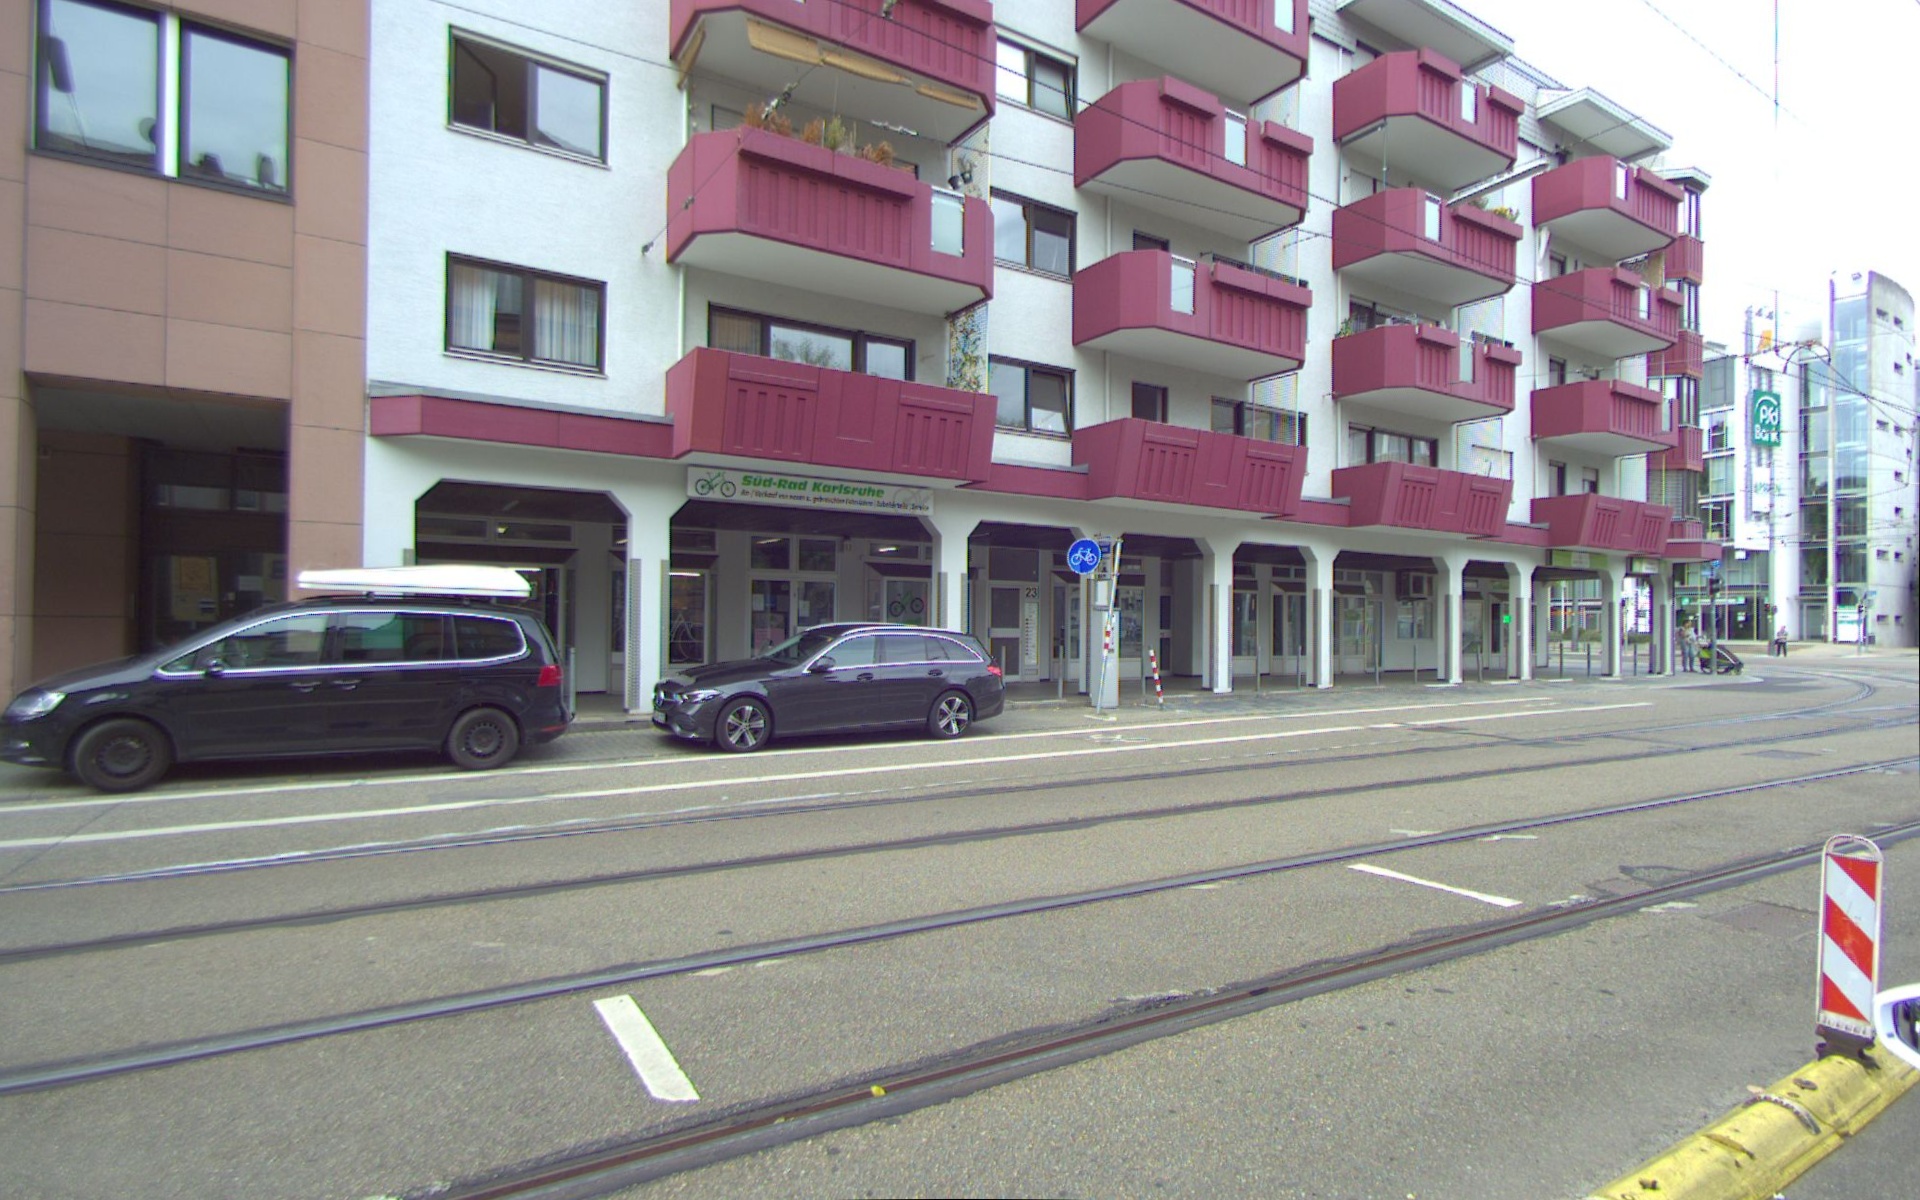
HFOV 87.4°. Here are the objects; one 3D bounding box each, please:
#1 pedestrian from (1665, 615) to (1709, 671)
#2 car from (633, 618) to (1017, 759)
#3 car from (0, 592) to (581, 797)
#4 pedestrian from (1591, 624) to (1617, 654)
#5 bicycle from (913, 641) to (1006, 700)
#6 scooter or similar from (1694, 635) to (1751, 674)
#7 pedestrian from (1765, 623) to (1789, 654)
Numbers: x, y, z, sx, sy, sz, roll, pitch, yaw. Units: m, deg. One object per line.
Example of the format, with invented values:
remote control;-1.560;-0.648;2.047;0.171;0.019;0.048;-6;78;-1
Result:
pedestrian;23.366;1.355;32.291;0.803;1.766;0.942;1;-1;-33
car;-1.661;1.027;13.052;4.645;1.500;1.745;1;1;-32
car;-6.484;0.816;10.240;4.645;1.669;1.797;1;1;-32
pedestrian;35.848;2.160;55.902;0.753;1.693;0.935;1;-1;-17
bicycle;0.006;1.193;17.337;1.636;0.966;0.560;1;-1;-39
scooter or similar;23.896;1.701;31.482;0.936;1.143;1.189;1;0;-32
pedestrian;49.428;2.330;60.750;0.754;1.889;0.833;1;-1;-17
